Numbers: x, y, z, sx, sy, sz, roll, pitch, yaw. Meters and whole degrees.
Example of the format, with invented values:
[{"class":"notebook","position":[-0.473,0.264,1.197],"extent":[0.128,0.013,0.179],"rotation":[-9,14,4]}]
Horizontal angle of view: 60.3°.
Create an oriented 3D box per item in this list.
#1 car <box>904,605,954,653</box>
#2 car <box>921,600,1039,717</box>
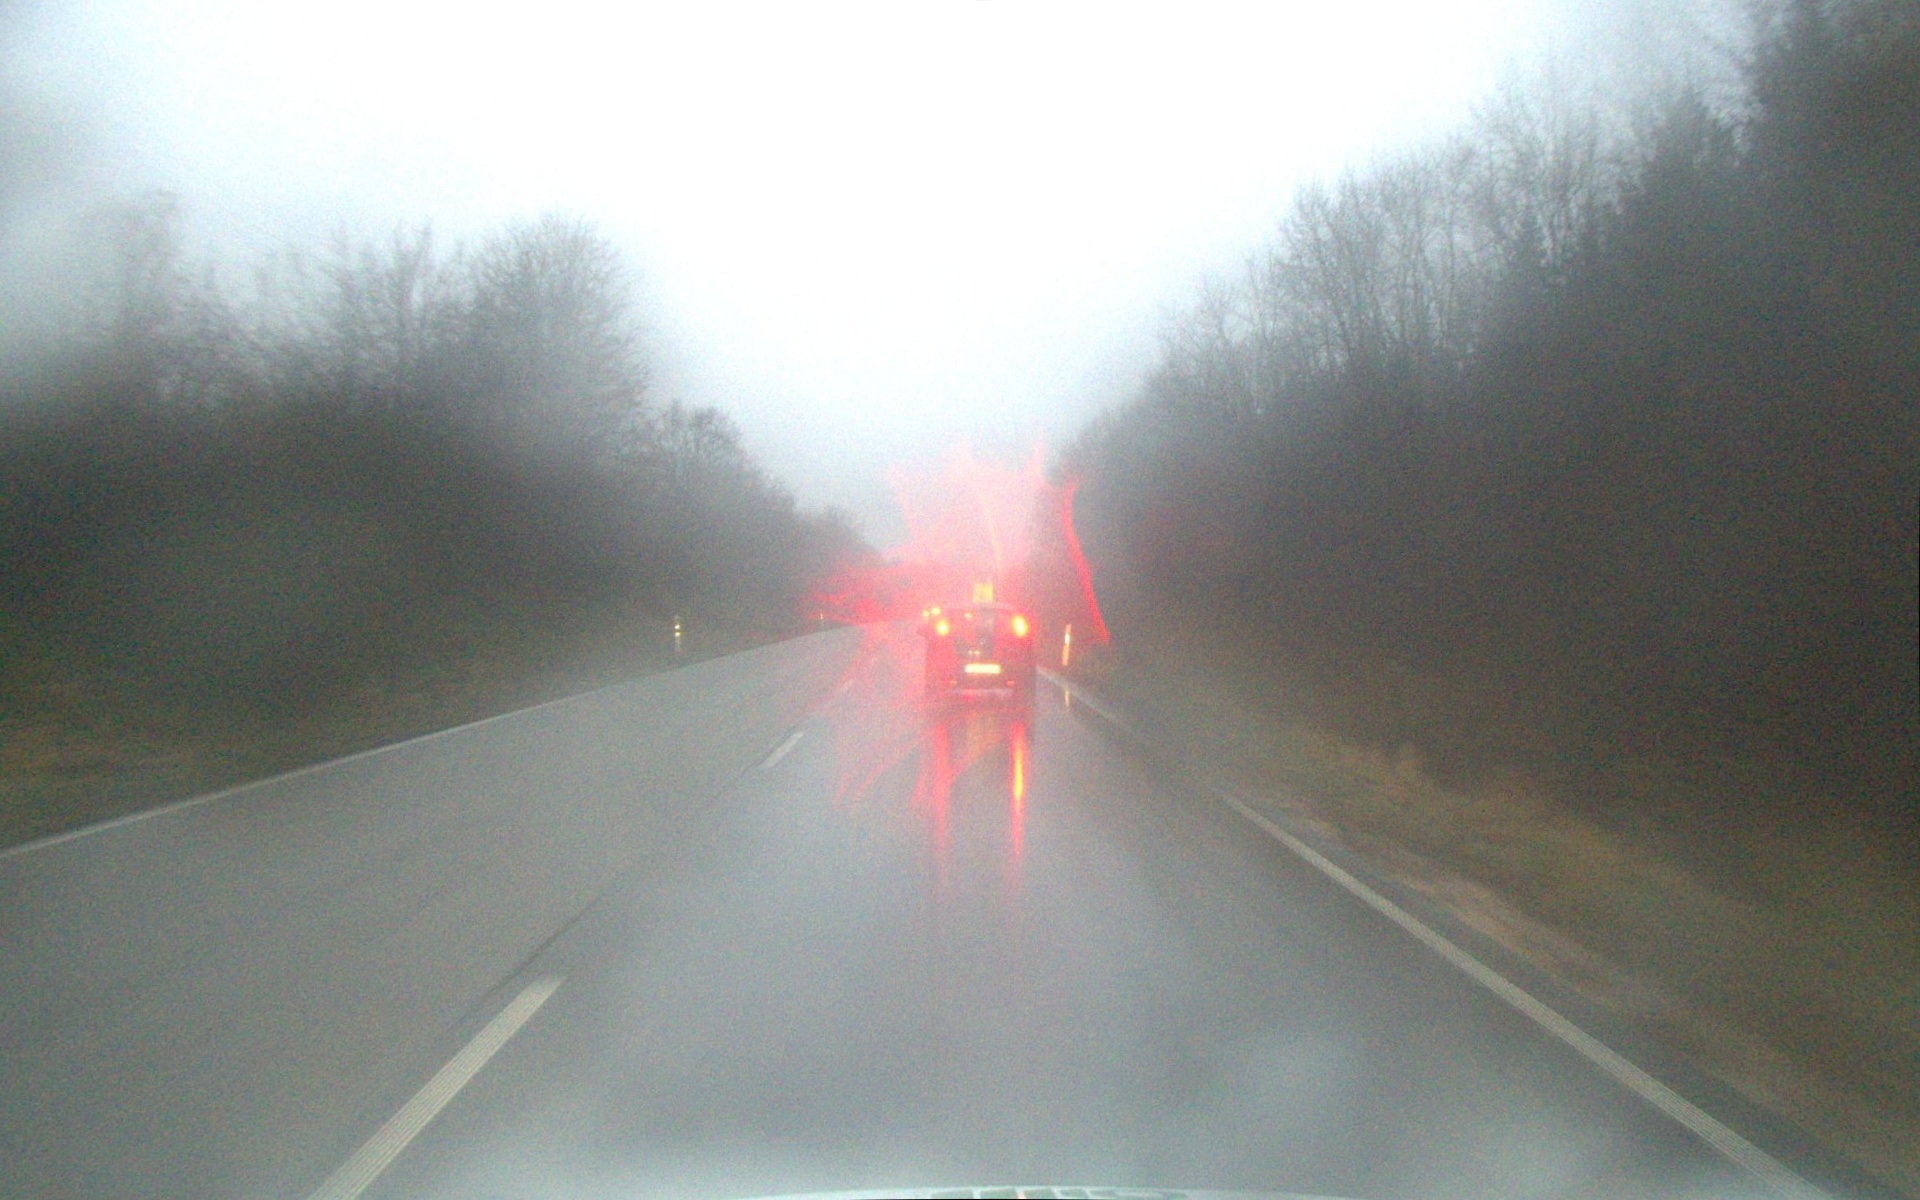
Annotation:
[{"class":"car","position":[-1.083,1.040,60.186],"extent":[1.692,1.672,4.000],"rotation":[0,0,0]},{"class":"car","position":[0.308,0.856,25.868],"extent":[1.692,1.672,4.000],"rotation":[0,0,0]}]
